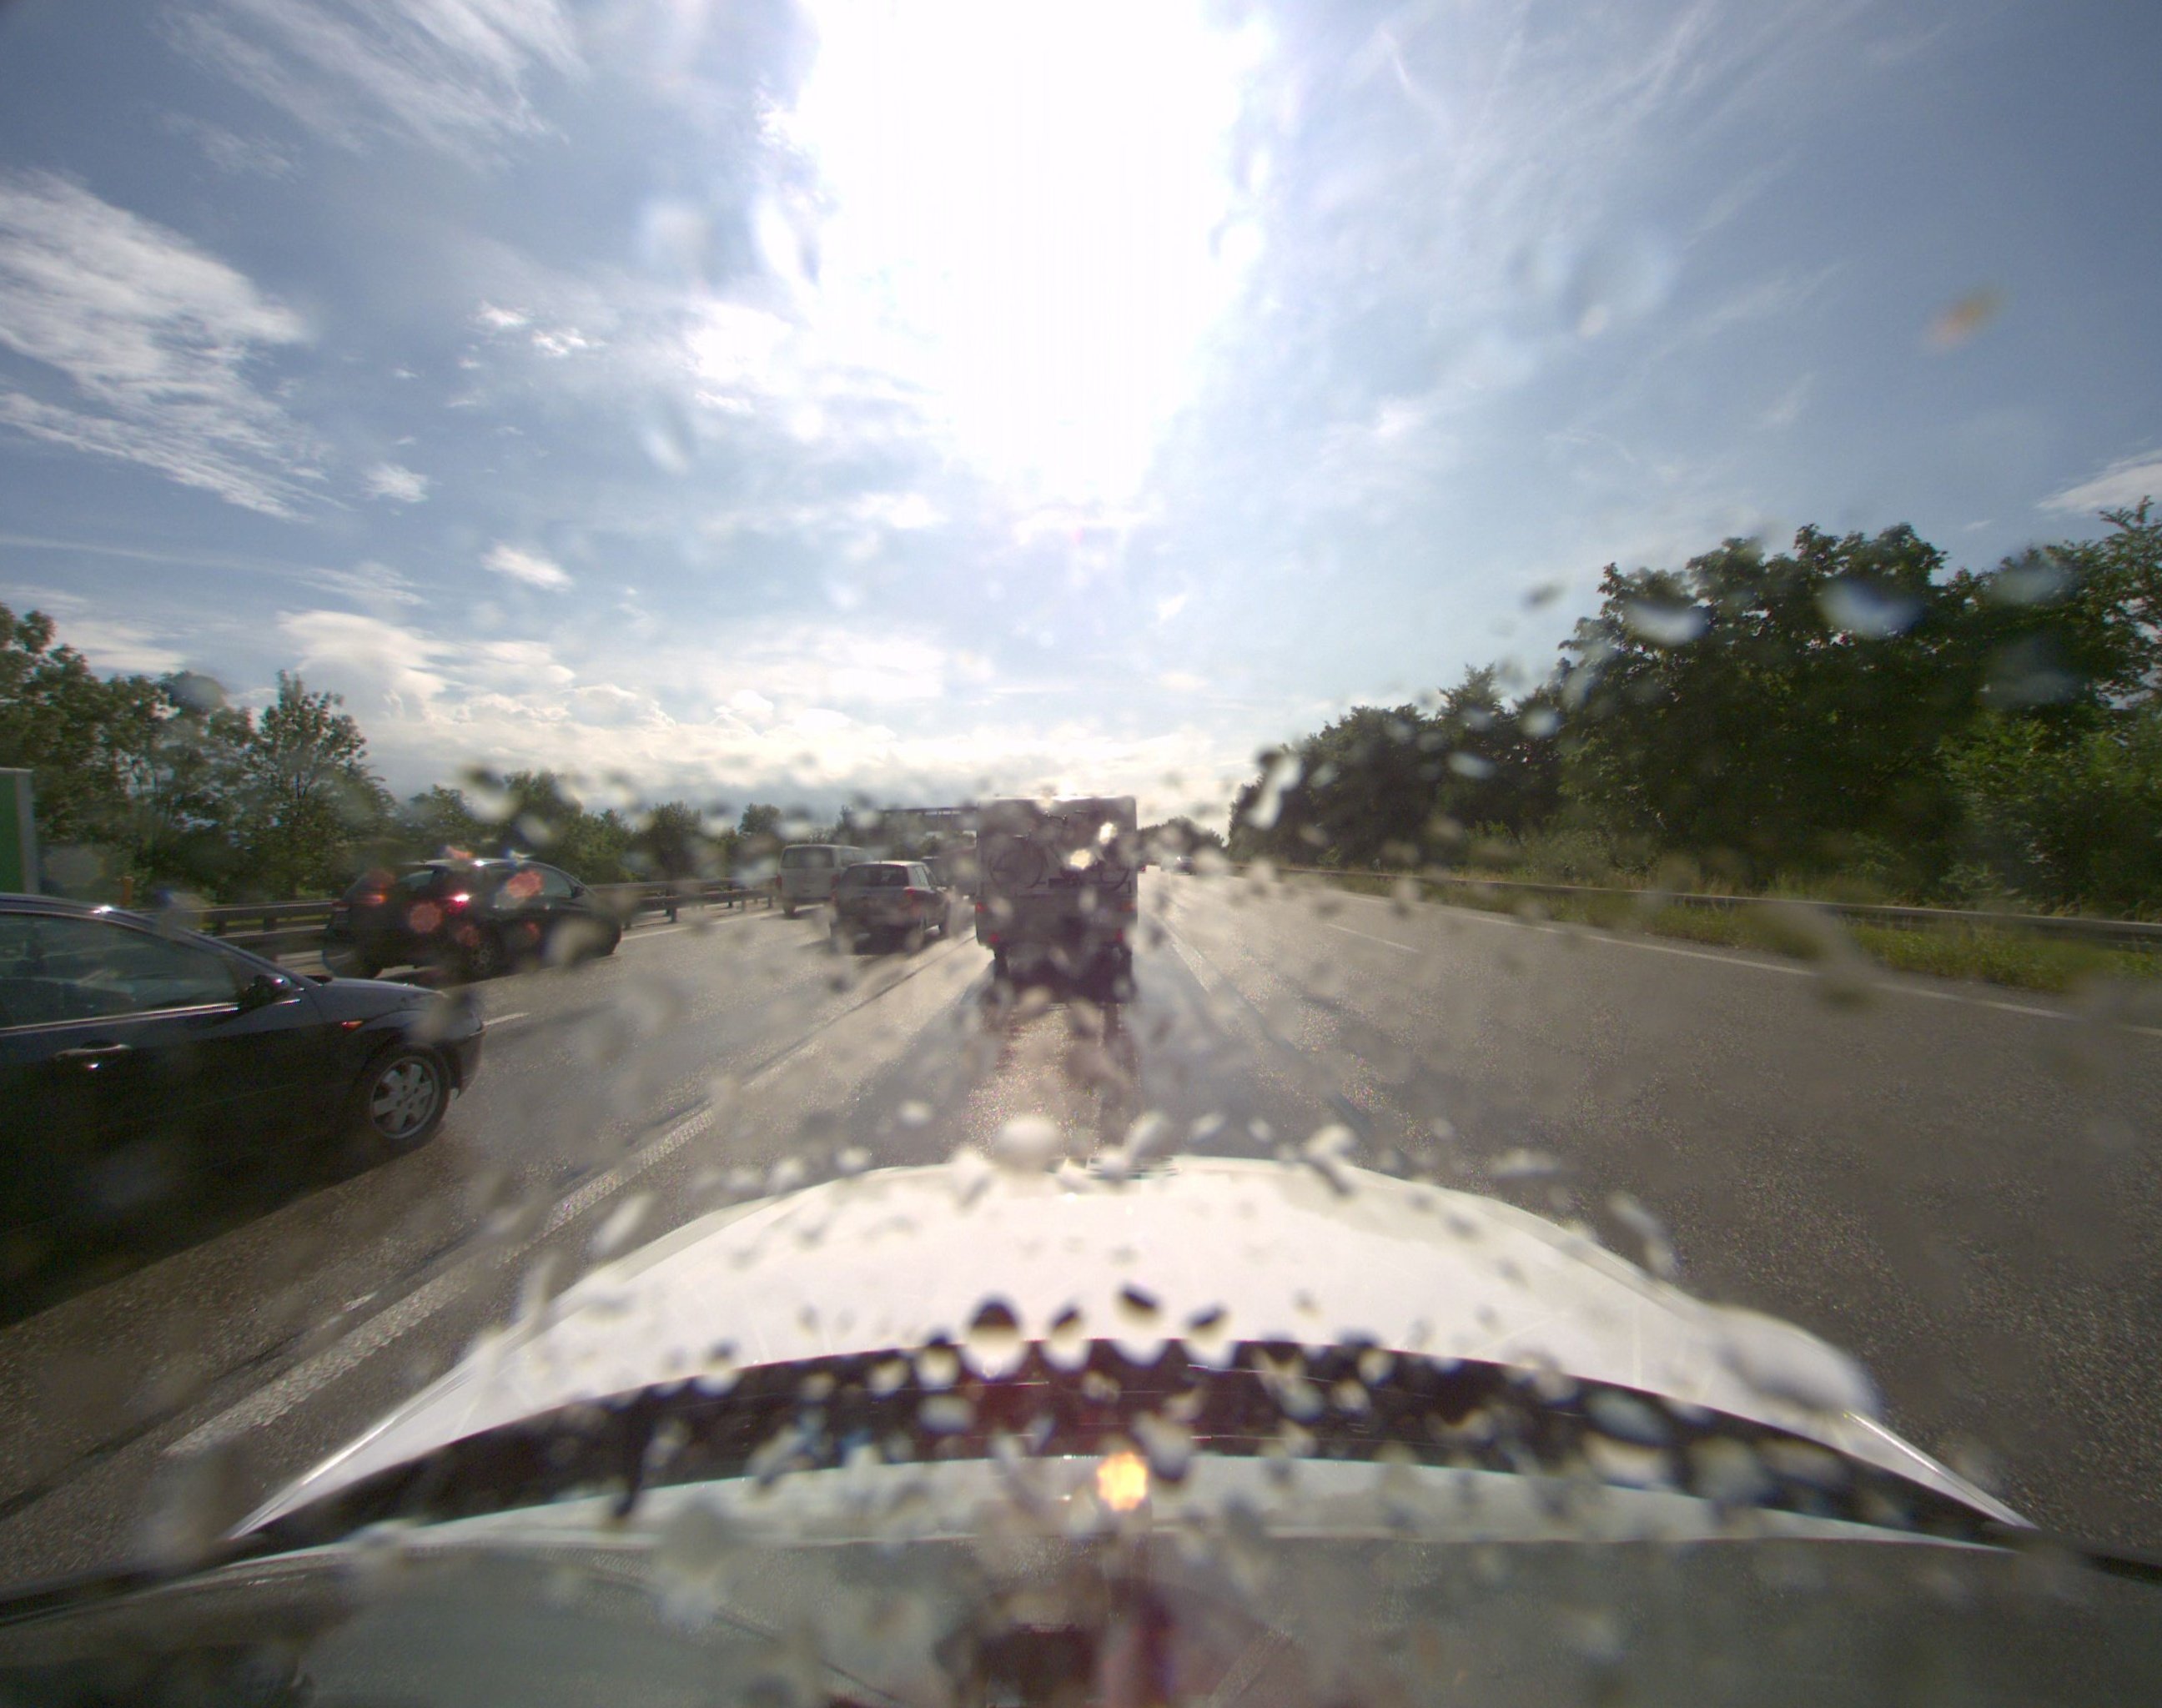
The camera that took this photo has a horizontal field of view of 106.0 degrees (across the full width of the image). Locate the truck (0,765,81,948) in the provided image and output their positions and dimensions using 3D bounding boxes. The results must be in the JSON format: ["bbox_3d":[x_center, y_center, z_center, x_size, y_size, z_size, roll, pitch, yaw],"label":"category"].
[{"bbox_3d":[-19.222,0.023,10.008,2.905,2.987,8.724,0,-1,2],"label":"truck"}]

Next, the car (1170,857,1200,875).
[{"bbox_3d":[8.774,0.998,68.814,1.872,1.494,3.996,0,-1,-2],"label":"car"}]

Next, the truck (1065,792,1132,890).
[{"bbox_3d":[0.889,-0.579,44.258,3.135,4.626,10.736,-1,0,1],"label":"truck"}]

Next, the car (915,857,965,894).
[{"bbox_3d":[-6.700,0.996,39.082,1.766,1.662,3.998,0,-1,-1],"label":"car"}]

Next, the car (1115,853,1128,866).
[{"bbox_3d":[5.582,0.770,111.765,1.713,1.684,4.002,-1,0,2],"label":"car"}]

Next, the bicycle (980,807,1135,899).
[{"bbox_3d":[-0.288,-0.012,10.369,1.926,1.141,0.384,0,-1,1],"label":"bicycle"}]

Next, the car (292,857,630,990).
[{"bbox_3d":[-8.572,0.850,11.786,1.776,1.578,3.918,-1,0,2],"label":"car"}]

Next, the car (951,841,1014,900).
[{"bbox_3d":[-3.557,0.587,30.081,1.871,2.014,3.998,0,-1,-1],"label":"car"}]

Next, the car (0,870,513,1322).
[{"bbox_3d":[-4.421,0.827,2.978,1.752,1.443,4.002,-1,0,2],"label":"car"}]

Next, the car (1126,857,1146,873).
[{"bbox_3d":[5.260,1.044,78.230,1.828,1.558,4.002,0,-1,2],"label":"car"}]

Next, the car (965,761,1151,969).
[{"bbox_3d":[-0.216,0.160,12.549,2.401,2.674,4.002,0,-1,2],"label":"car"}]

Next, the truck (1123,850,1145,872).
[{"bbox_3d":[6.154,0.748,94.707,2.406,2.444,6.056,-1,0,2],"label":"truck"}]

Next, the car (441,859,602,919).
[{"bbox_3d":[-15.296,0.904,22.556,1.692,1.486,3.999,-1,0,0],"label":"car"}]

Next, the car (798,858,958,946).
[{"bbox_3d":[-3.751,0.831,15.790,1.980,1.458,3.828,-1,0,2],"label":"car"}]

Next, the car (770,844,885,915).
[{"bbox_3d":[-7.601,0.698,24.970,1.841,1.934,5.017,-1,0,1],"label":"car"}]

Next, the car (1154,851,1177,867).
[{"bbox_3d":[8.903,0.531,85.789,1.872,1.629,3.996,0,-1,-2],"label":"car"}]
